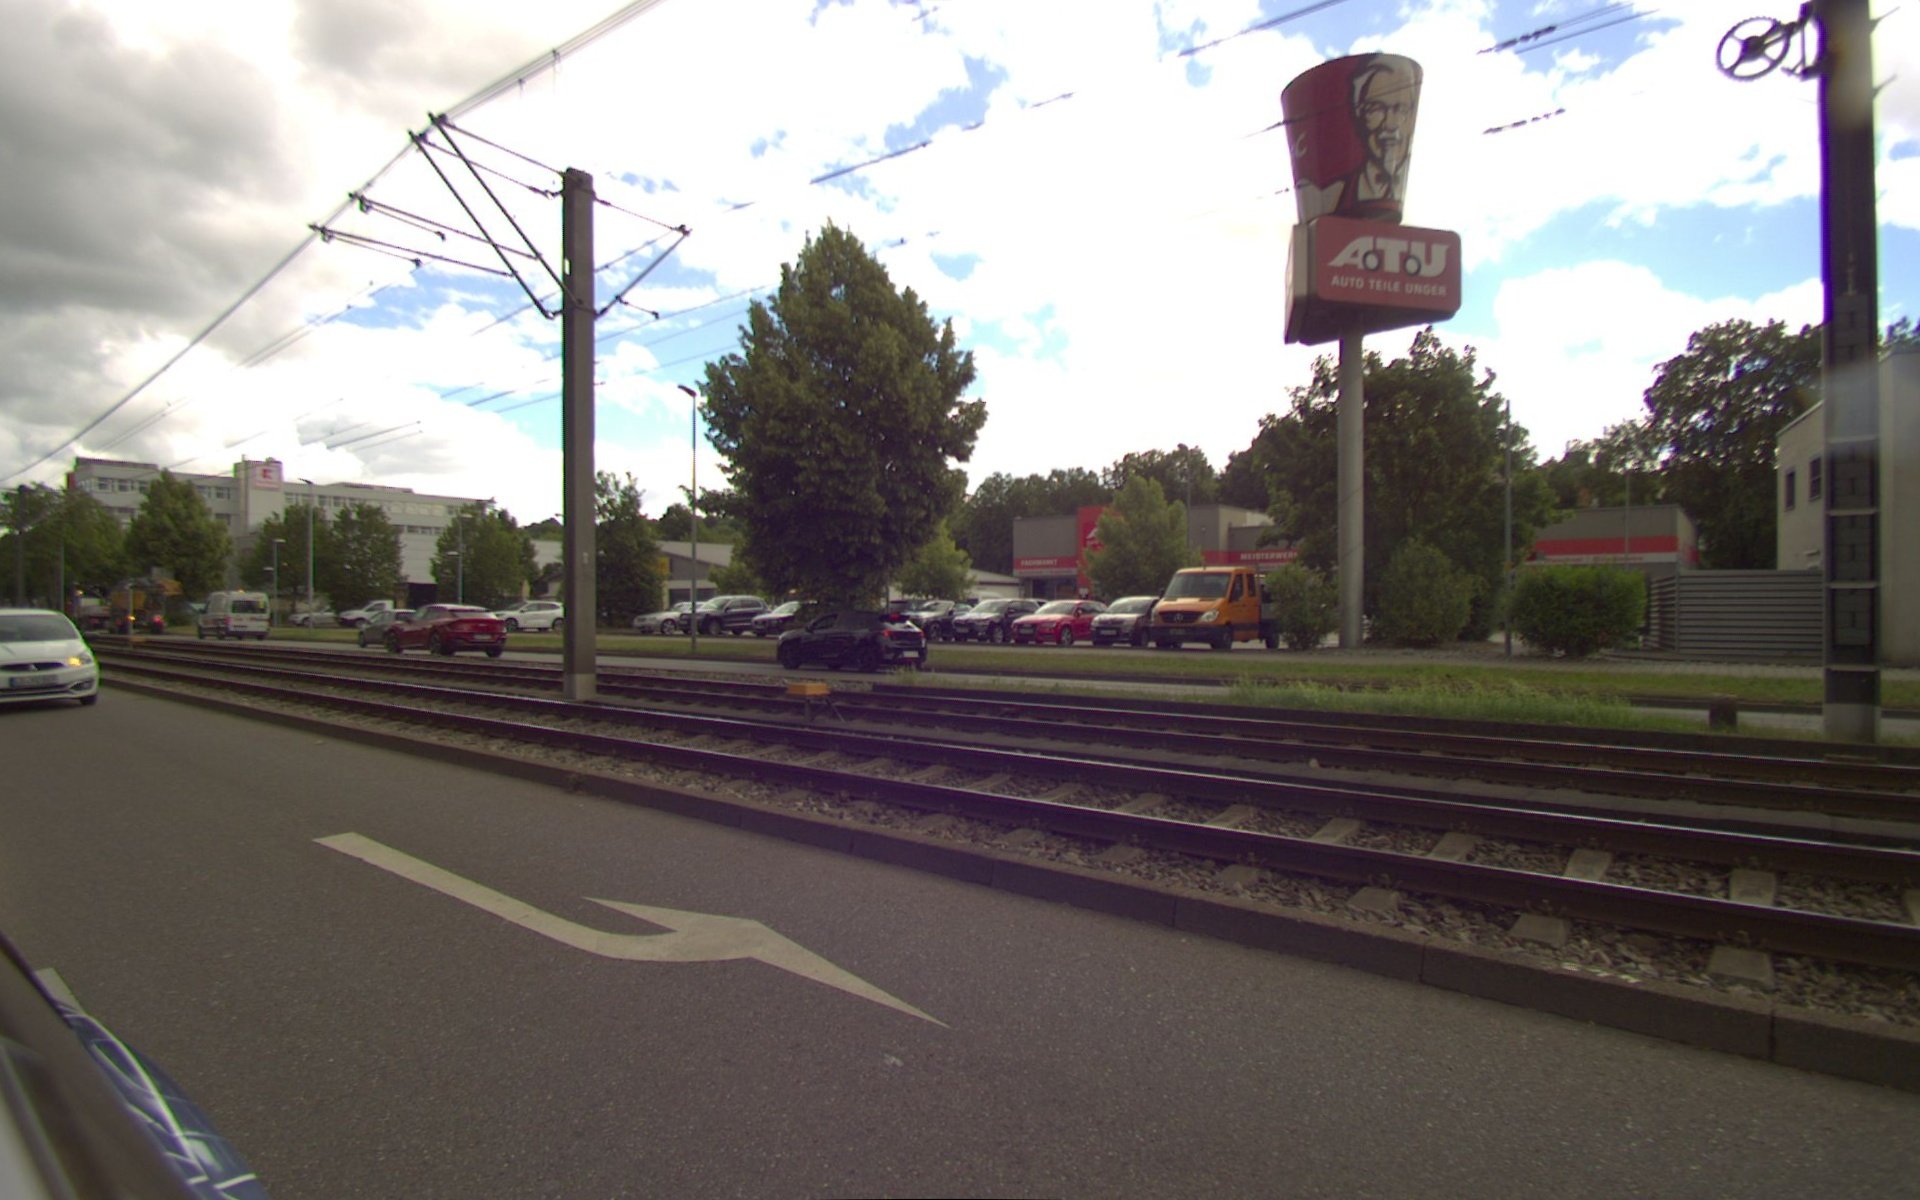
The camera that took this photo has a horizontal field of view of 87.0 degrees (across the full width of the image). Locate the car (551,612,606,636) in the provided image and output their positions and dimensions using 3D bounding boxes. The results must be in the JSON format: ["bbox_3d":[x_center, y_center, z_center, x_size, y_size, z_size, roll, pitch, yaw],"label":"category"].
[{"bbox_3d":[-26.277,1.657,69.899,1.975,1.417,3.993,-2,1,6],"label":"car"}]

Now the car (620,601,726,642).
[{"bbox_3d":[-12.378,0.909,43.750,2.000,1.518,3.948,-1,1,39],"label":"car"}]

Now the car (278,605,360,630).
[{"bbox_3d":[-45.199,1.232,71.415,2.000,1.503,4.551,-1,2,43],"label":"car"}]

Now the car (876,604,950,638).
[{"bbox_3d":[-2.314,1.039,50.444,1.699,1.660,3.693,-1,-1,38],"label":"car"}]

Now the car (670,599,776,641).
[{"bbox_3d":[-9.936,0.807,42.672,1.936,1.518,3.948,-1,1,39],"label":"car"}]

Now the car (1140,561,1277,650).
[{"bbox_3d":[6.792,0.091,27.389,2.057,2.181,3.948,-1,1,39],"label":"car"}]

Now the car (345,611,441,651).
[{"bbox_3d":[-22.533,1.221,40.207,3.996,1.494,1.974,-1,-3,39],"label":"car"}]

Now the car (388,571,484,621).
[{"bbox_3d":[-30.573,-0.201,59.157,2.287,2.769,4.424,-1,-2,40],"label":"car"}]

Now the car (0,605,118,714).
[{"bbox_3d":[-14.560,0.853,15.491,3.995,1.454,1.765,-1,1,38],"label":"car"}]

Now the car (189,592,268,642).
[{"bbox_3d":[-38.804,0.947,53.630,5.993,2.518,1.850,-1,-3,39],"label":"car"}]

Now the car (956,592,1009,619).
[{"bbox_3d":[1.560,0.345,68.386,1.721,1.634,3.693,-1,1,38],"label":"car"}]

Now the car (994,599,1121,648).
[{"bbox_3d":[3.048,0.687,31.117,1.998,1.245,3.948,-1,2,39],"label":"car"}]

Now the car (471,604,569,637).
[{"bbox_3d":[-23.261,1.060,53.620,1.792,1.518,4.429,-1,1,37],"label":"car"}]

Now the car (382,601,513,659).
[{"bbox_3d":[-15.331,0.881,30.181,4.476,1.594,1.766,-1,-2,38],"label":"car"}]

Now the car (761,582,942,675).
[{"bbox_3d":[-2.611,0.689,24.066,3.992,2.029,1.975,-1,-3,36],"label":"car"}]

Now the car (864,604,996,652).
[{"bbox_3d":[-0.965,0.899,34.507,2.194,1.364,4.330,-1,2,39],"label":"car"}]

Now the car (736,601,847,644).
[{"bbox_3d":[-6.478,0.851,39.249,1.936,1.431,3.948,-1,1,39],"label":"car"}]

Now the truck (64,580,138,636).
[{"bbox_3d":[-64.083,0.662,75.446,8.625,3.997,2.862,-1,-2,41],"label":"truck"}]

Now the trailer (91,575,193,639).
[{"bbox_3d":[-55.230,0.560,68.097,14.415,3.927,2.644,-1,-3,41],"label":"trailer"}]

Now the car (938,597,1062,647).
[{"bbox_3d":[1.355,0.680,33.080,2.092,1.377,3.948,-1,2,39],"label":"car"}]

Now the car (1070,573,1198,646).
[{"bbox_3d":[5.178,0.231,29.805,1.998,1.932,3.948,-1,1,39],"label":"car"}]

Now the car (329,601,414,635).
[{"bbox_3d":[-37.941,1.131,65.273,2.000,1.933,4.298,-1,2,43],"label":"car"}]

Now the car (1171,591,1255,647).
[{"bbox_3d":[10.228,0.744,40.802,1.949,2.028,3.693,-1,1,38],"label":"car"}]
